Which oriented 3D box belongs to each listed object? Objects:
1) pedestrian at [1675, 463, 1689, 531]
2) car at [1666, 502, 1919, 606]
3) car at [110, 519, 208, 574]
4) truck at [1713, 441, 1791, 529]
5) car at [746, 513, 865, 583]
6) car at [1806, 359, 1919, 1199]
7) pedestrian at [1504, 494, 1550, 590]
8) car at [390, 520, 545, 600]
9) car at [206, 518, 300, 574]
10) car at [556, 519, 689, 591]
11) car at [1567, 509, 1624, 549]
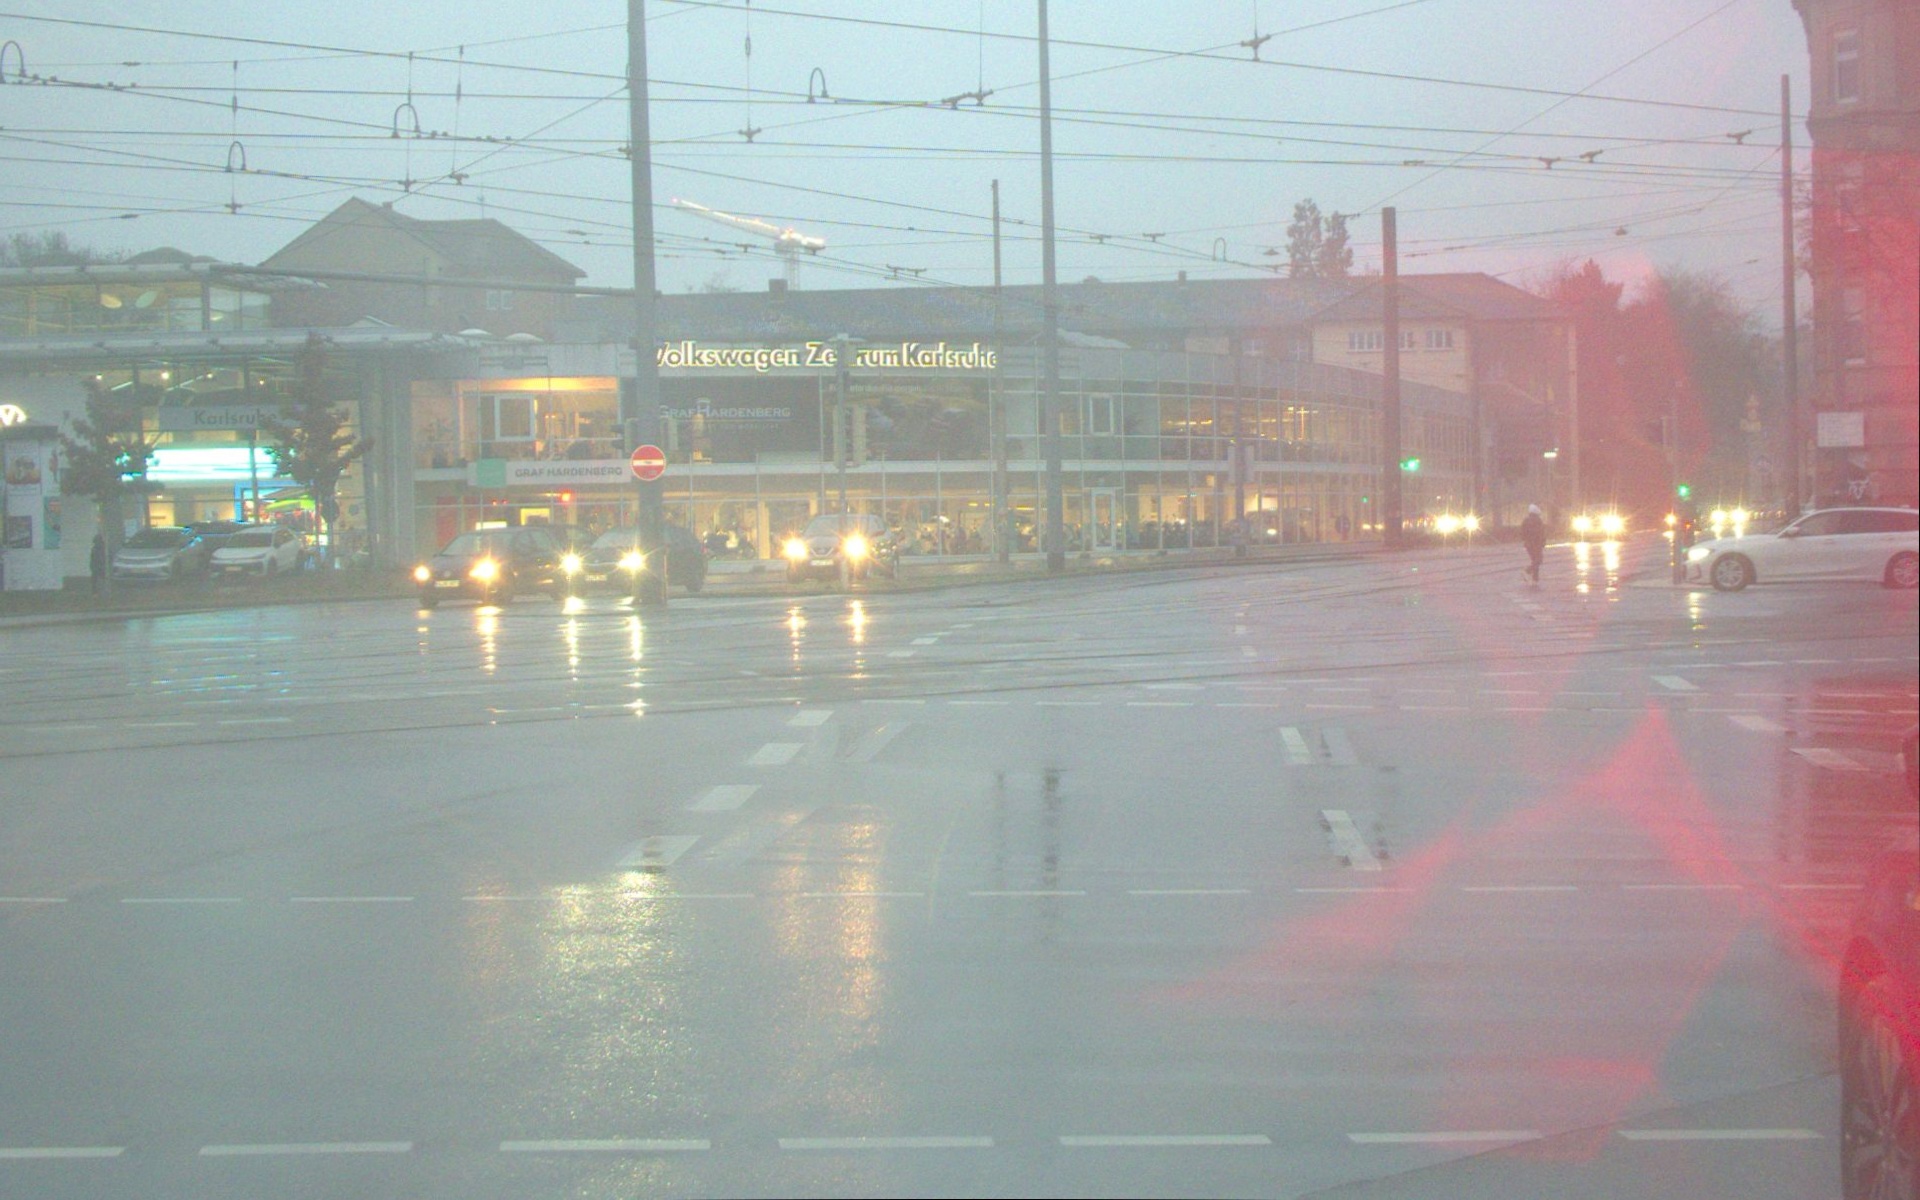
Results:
[{"bbox_3d":[21.541,-3.067,102.573,0.344,2.007,0.418,-1,1,15],"label":"pedestrian"},{"bbox_3d":[14.377,-0.777,57.947,4.800,1.651,1.740,-1,1,11],"label":"car"},{"bbox_3d":[-24.163,-1.619,103.802,1.862,1.596,4.000,-1,1,2],"label":"car"},{"bbox_3d":[25.210,-3.621,109.336,1.995,2.682,5.111,-1,1,17],"label":"truck"},{"bbox_3d":[-3.361,-1.149,75.344,1.813,1.441,3.999,-1,1,9],"label":"car"},{"bbox_3d":[2.554,0.506,4.790,1.778,1.794,4.425,0,2,2],"label":"car"},{"bbox_3d":[11.011,-1.126,66.756,0.591,1.834,0.619,-2,1,-34],"label":"pedestrian"},{"bbox_3d":[-9.416,-0.793,66.027,1.813,1.441,3.999,-1,1,9],"label":"car"},{"bbox_3d":[-21.256,-1.639,103.559,1.862,1.596,4.000,-1,1,2],"label":"car"},{"bbox_3d":[-7.109,-0.978,72.687,1.813,1.441,3.999,-1,1,9],"label":"car"},{"bbox_3d":[26.396,-2.953,142.724,1.864,1.596,3.783,-1,1,18],"label":"car"}]
